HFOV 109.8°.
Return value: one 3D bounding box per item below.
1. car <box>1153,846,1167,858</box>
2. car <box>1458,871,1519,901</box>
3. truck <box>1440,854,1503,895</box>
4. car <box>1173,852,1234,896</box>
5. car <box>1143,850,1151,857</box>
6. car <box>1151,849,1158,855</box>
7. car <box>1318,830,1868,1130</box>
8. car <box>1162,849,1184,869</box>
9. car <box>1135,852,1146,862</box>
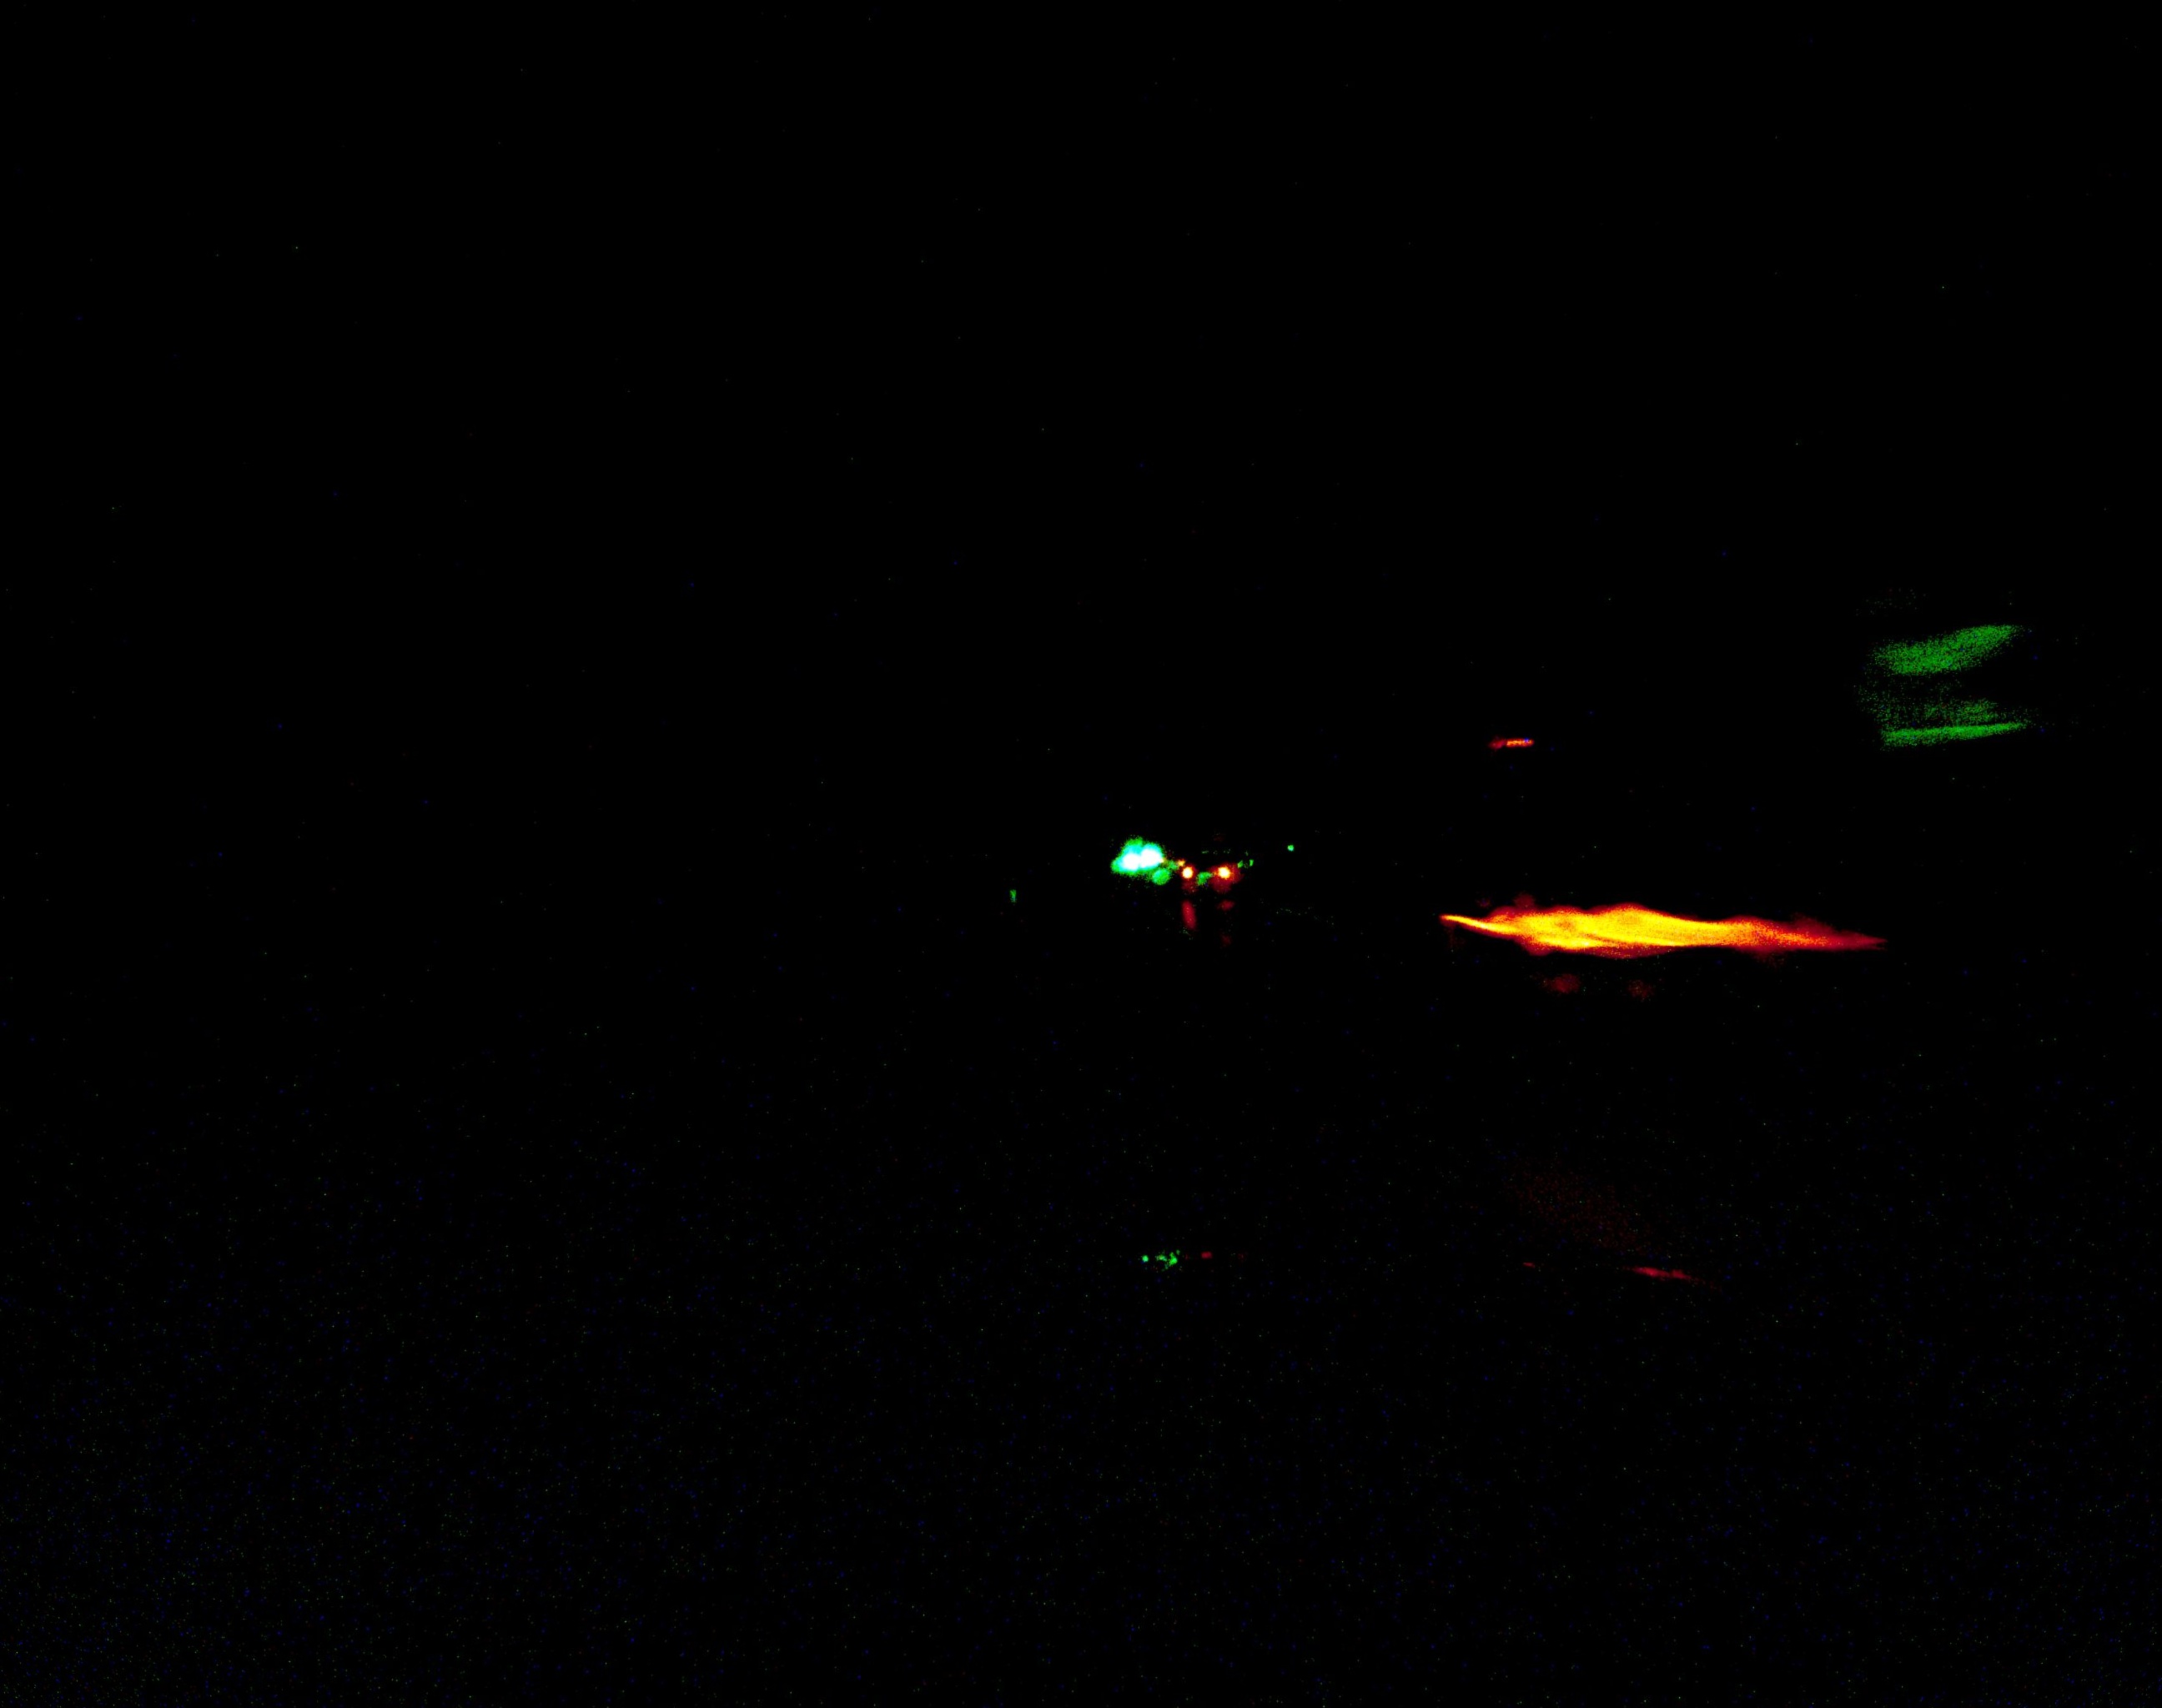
[{"bbox_3d":[10.339,-0.298,99.894,1.715,1.409,4.066,-2,1,5],"label":"car"},{"bbox_3d":[26.076,2.026,48.779,1.812,1.666,4.293,-2,1,3],"label":"car"},{"bbox_3d":[35.966,1.802,70.346,2.761,3.462,8.110,-2,0,10],"label":"truck"},{"bbox_3d":[4.528,0.696,28.573,1.790,1.470,3.680,-2,1,2],"label":"car"},{"bbox_3d":[15.560,-0.101,178.890,1.782,1.565,4.002,-2,1,7],"label":"car"},{"bbox_3d":[21.063,-0.616,216.471,1.782,1.565,4.002,-2,1,7],"label":"car"},{"bbox_3d":[3.591,0.702,6.477,1.813,1.666,4.292,-2,1,1],"label":"car"},{"bbox_3d":[7.096,0.357,58.611,1.639,1.511,3.772,0,1,6],"label":"car"},{"bbox_3d":[10.214,0.502,130.421,1.823,1.565,4.108,-2,1,6],"label":"car"}]
